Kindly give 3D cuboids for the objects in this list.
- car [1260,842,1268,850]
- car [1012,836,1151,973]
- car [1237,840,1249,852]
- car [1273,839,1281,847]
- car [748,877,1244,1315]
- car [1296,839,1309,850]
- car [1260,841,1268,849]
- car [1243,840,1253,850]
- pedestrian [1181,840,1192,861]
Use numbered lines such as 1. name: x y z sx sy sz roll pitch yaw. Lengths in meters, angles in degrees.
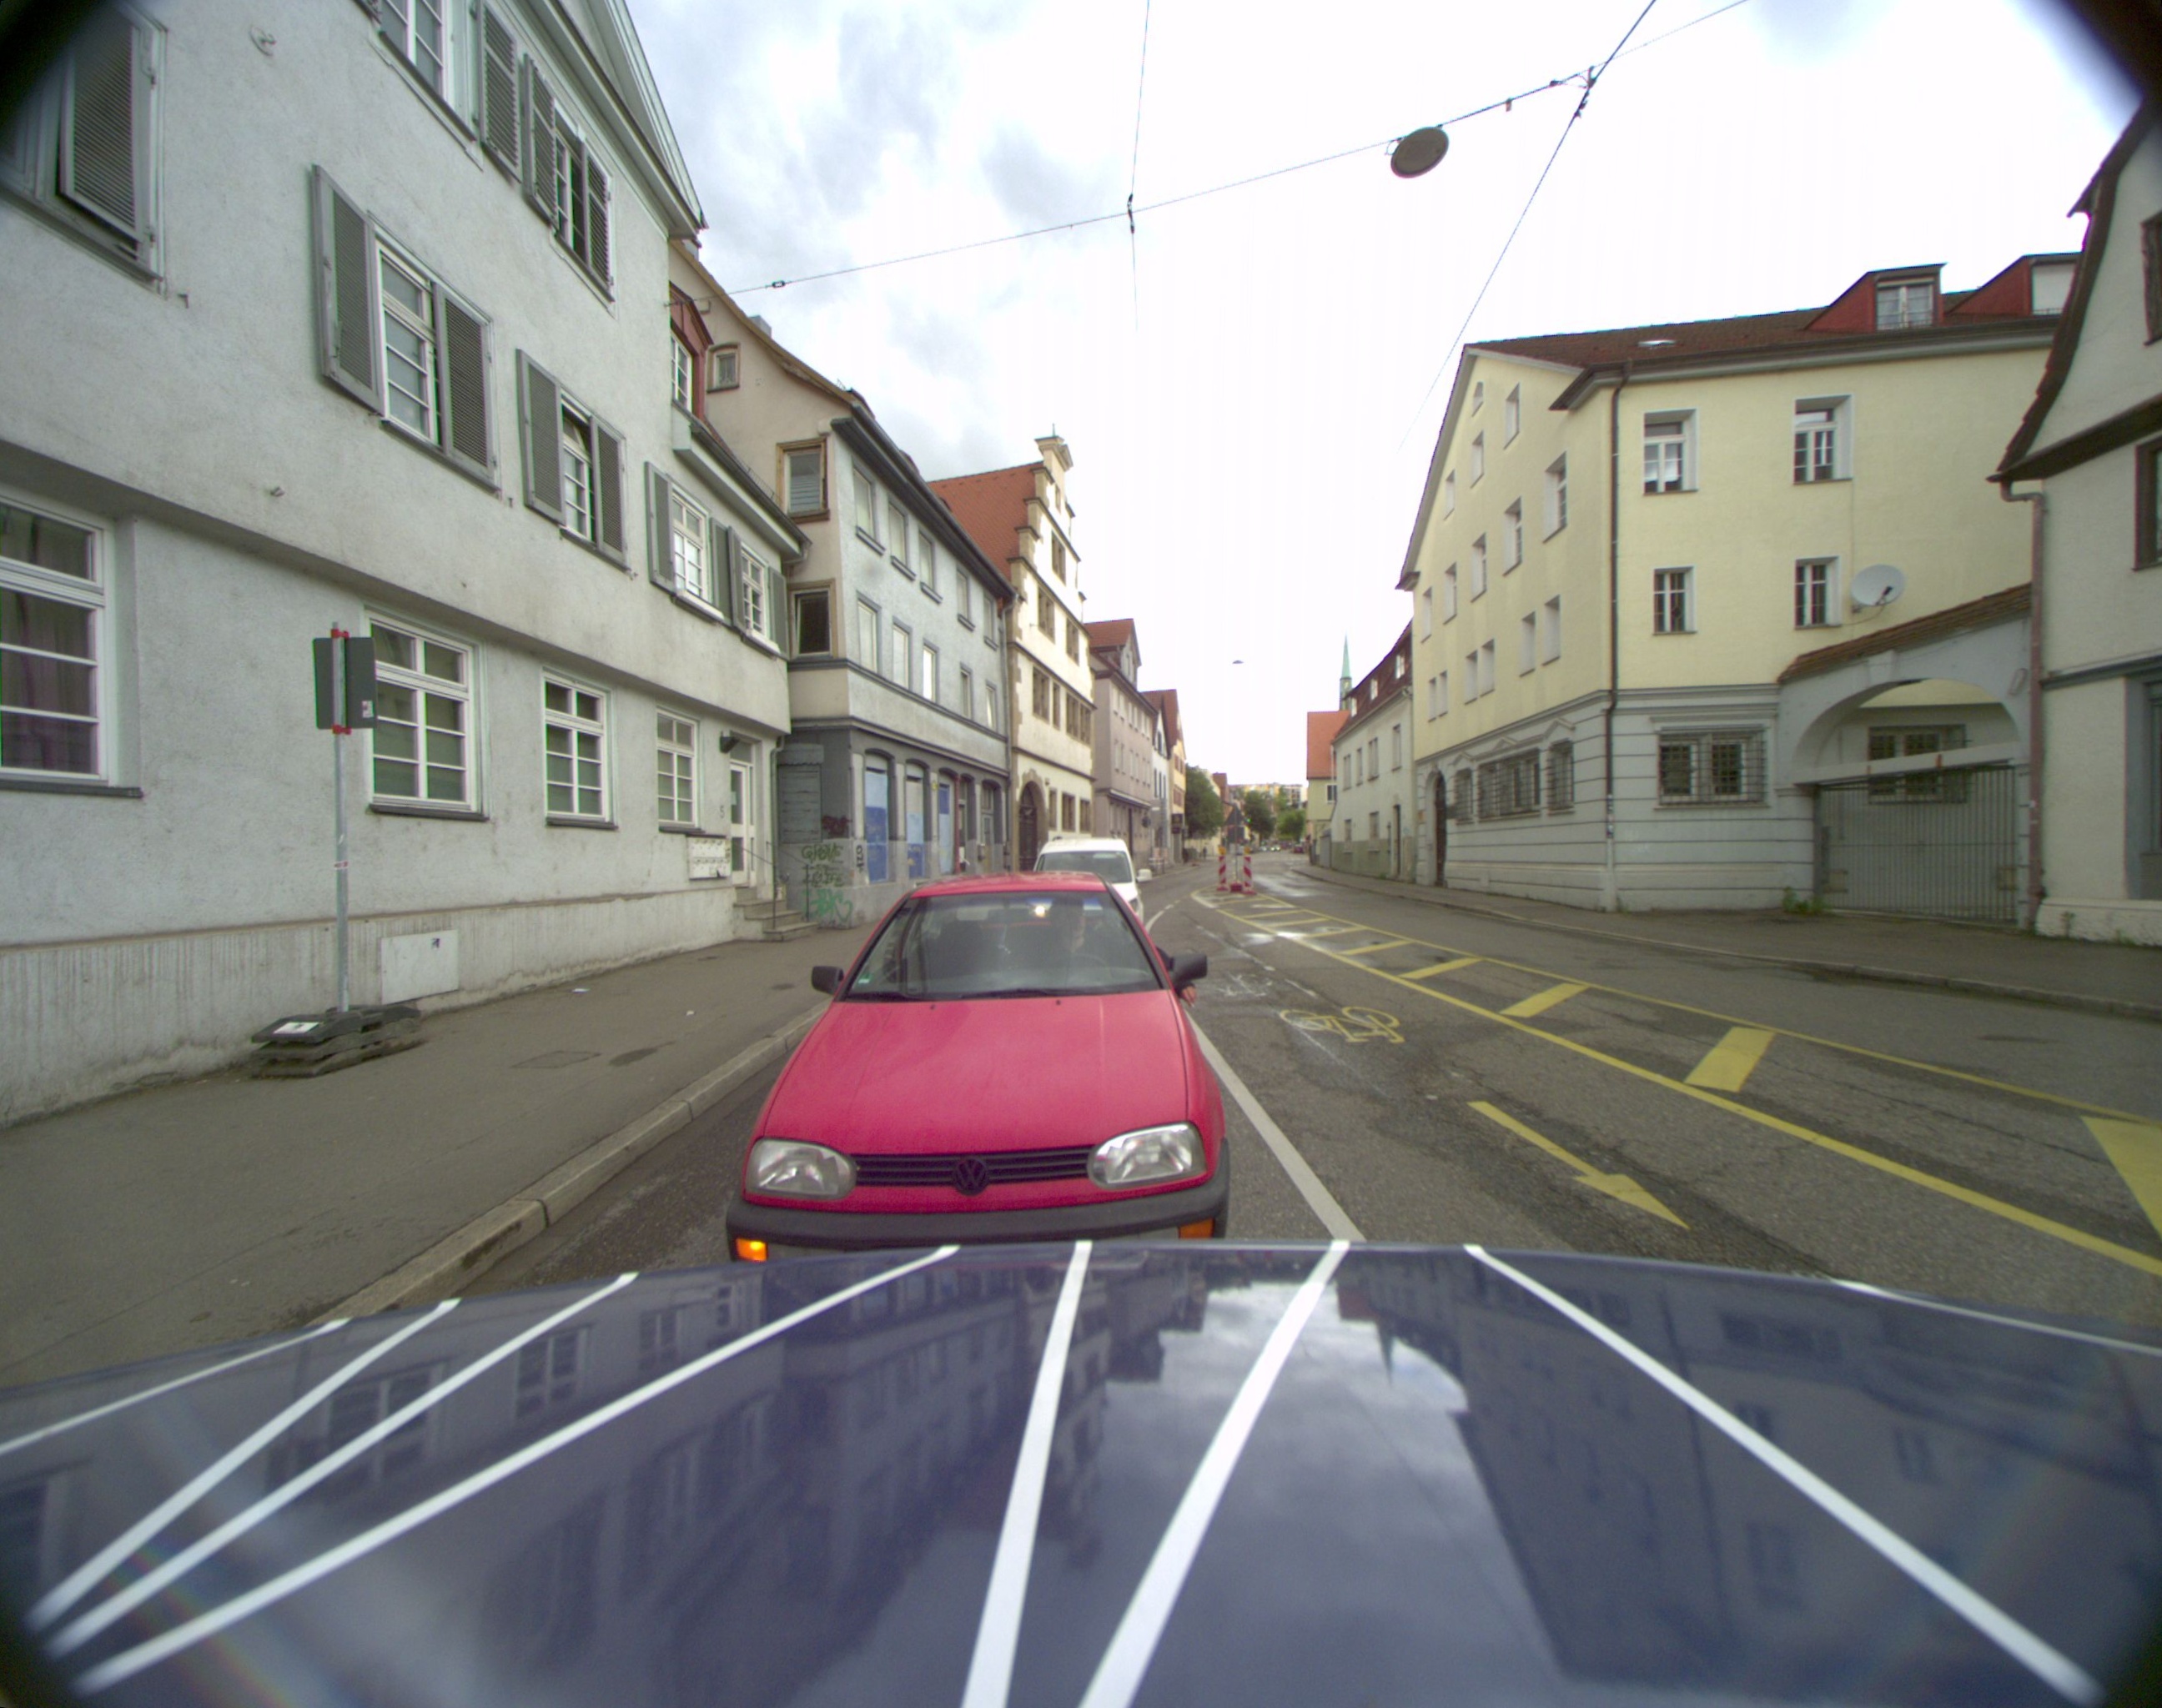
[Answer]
1. car: 48.493 -2.105 201.281 1.996 2.002 4.004 -1 0 13
2. car: 0.039 0.674 12.166 1.804 1.781 4.349 -1 0 1
3. car: 28.463 -1.342 133.498 1.996 2.002 4.004 -1 0 13
4. car: 51.875 -2.806 201.260 1.996 2.002 4.004 -1 0 13
5. car: -0.296 0.988 4.899 1.804 1.458 4.000 -4 0 1
6. car: 42.737 -1.774 146.577 2.057 2.002 4.004 -1 0 13
7. car: 44.970 -2.154 186.807 1.996 2.002 4.004 -1 0 13
8. car: 33.959 -1.753 154.281 1.996 2.002 4.004 -1 0 13
9. pedestrian: 9.616 -0.284 69.350 0.877 1.888 0.898 -1 0 12
